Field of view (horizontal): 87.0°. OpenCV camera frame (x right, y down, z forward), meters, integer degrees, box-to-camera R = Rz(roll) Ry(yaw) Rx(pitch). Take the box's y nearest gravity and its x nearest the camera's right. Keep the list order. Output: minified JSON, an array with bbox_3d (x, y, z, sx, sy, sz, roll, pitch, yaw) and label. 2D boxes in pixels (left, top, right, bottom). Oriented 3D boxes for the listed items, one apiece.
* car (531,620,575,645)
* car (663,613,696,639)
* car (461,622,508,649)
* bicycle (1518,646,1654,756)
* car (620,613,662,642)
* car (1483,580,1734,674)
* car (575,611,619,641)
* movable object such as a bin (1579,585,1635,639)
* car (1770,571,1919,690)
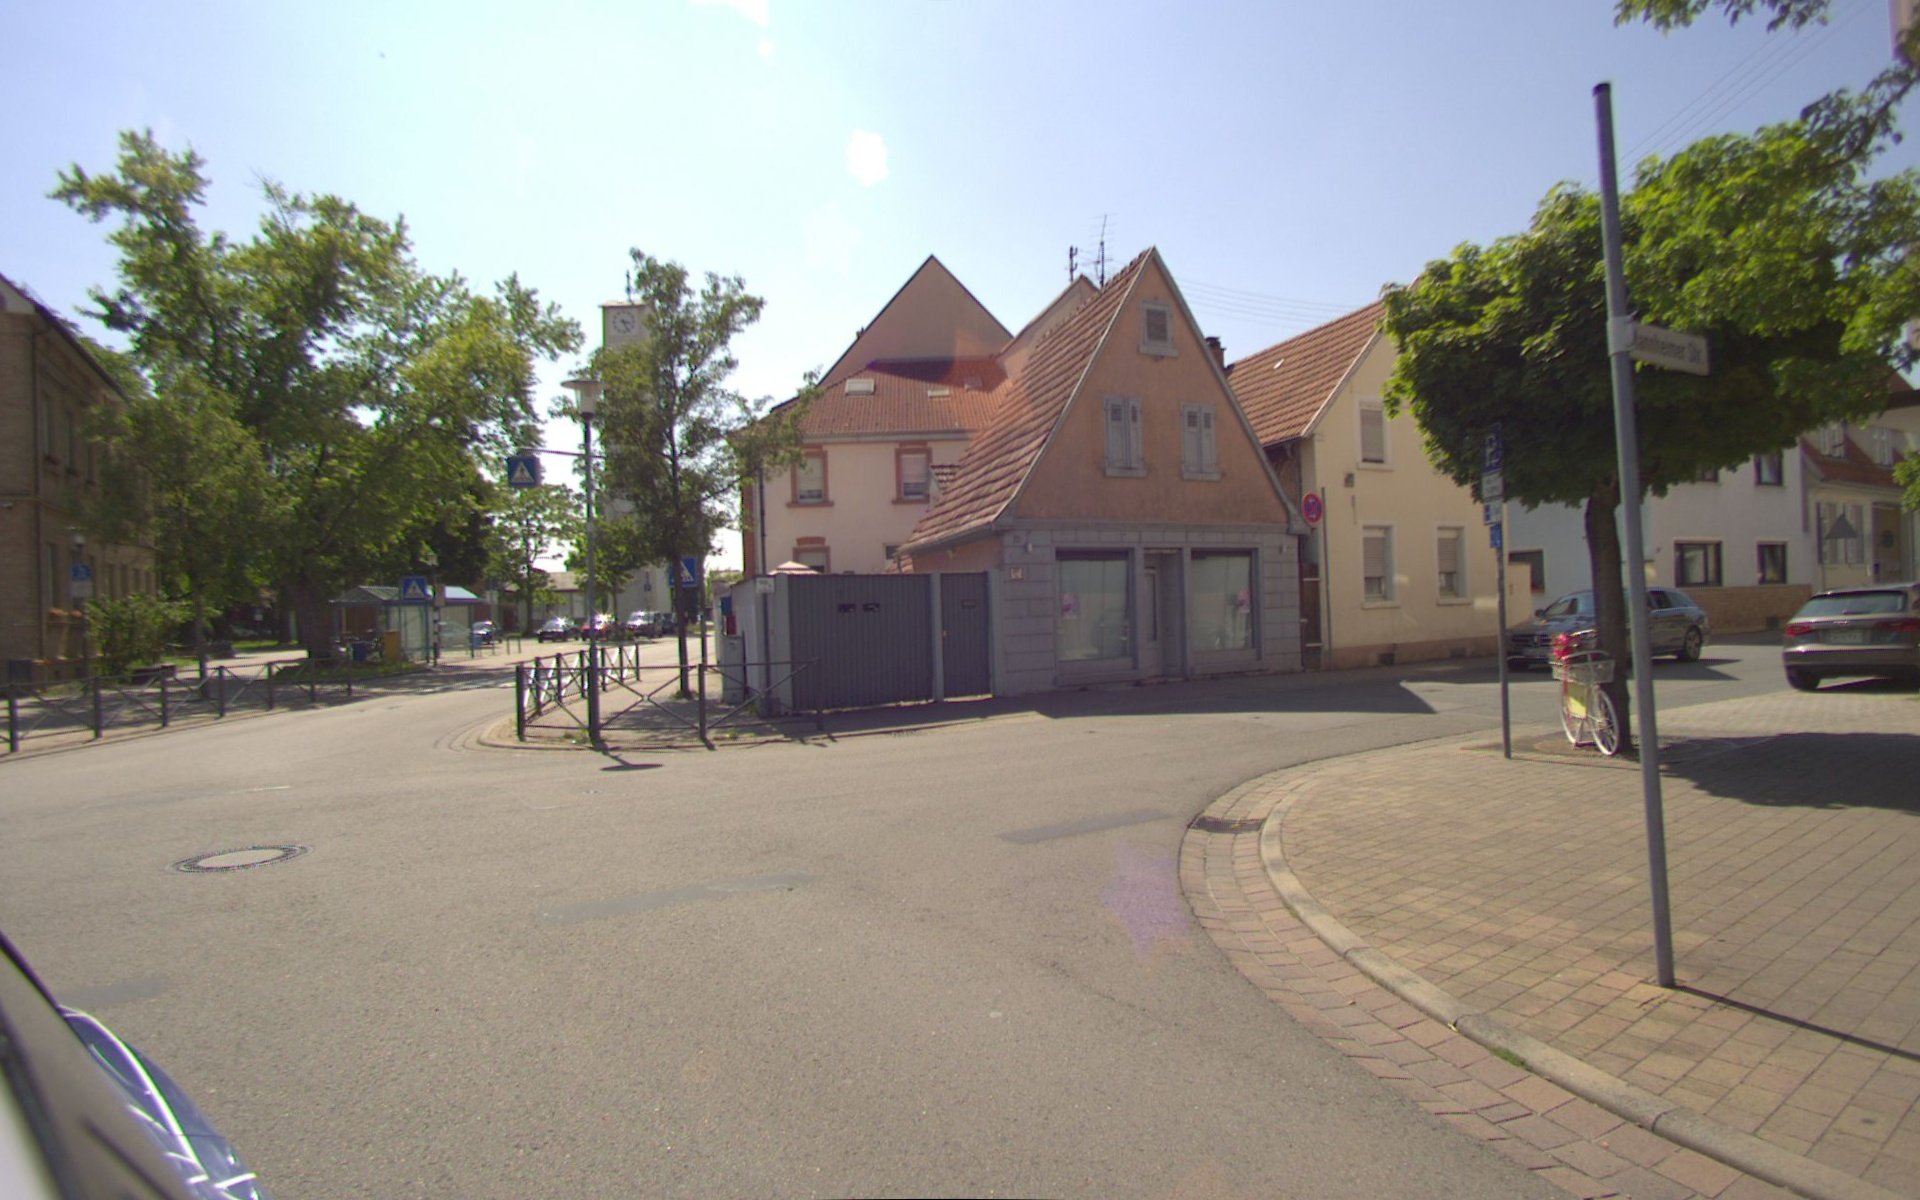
[{"bbox_3d":[-26.160,2.088,65.124,1.625,1.479,3.783,-2,-1,-6],"label":"car"},{"bbox_3d":[-19.400,1.818,70.149,1.753,1.658,4.008,-2,-1,-9],"label":"car"},{"bbox_3d":[-30.331,2.247,64.619,1.966,1.628,4.011,-2,-1,-14],"label":"car"},{"bbox_3d":[5.832,0.910,9.506,0.459,0.904,1.411,-4,-2,6],"label":"bicycle"},{"bbox_3d":[-20.758,1.758,65.985,1.755,1.807,4.004,-1,-1,-4],"label":"car"},{"bbox_3d":[12.101,0.464,18.804,4.761,1.492,1.921,-2,-1,-30],"label":"car"},{"bbox_3d":[-23.608,1.696,65.938,1.754,1.807,4.005,-2,-1,-6],"label":"car"},{"bbox_3d":[16.822,0.324,26.326,0.383,1.376,1.109,-2,-2,-27],"label":"movable object such as a bin"},{"bbox_3d":[13.030,0.380,13.970,3.426,1.465,1.586,-2,-3,-28],"label":"car"}]
